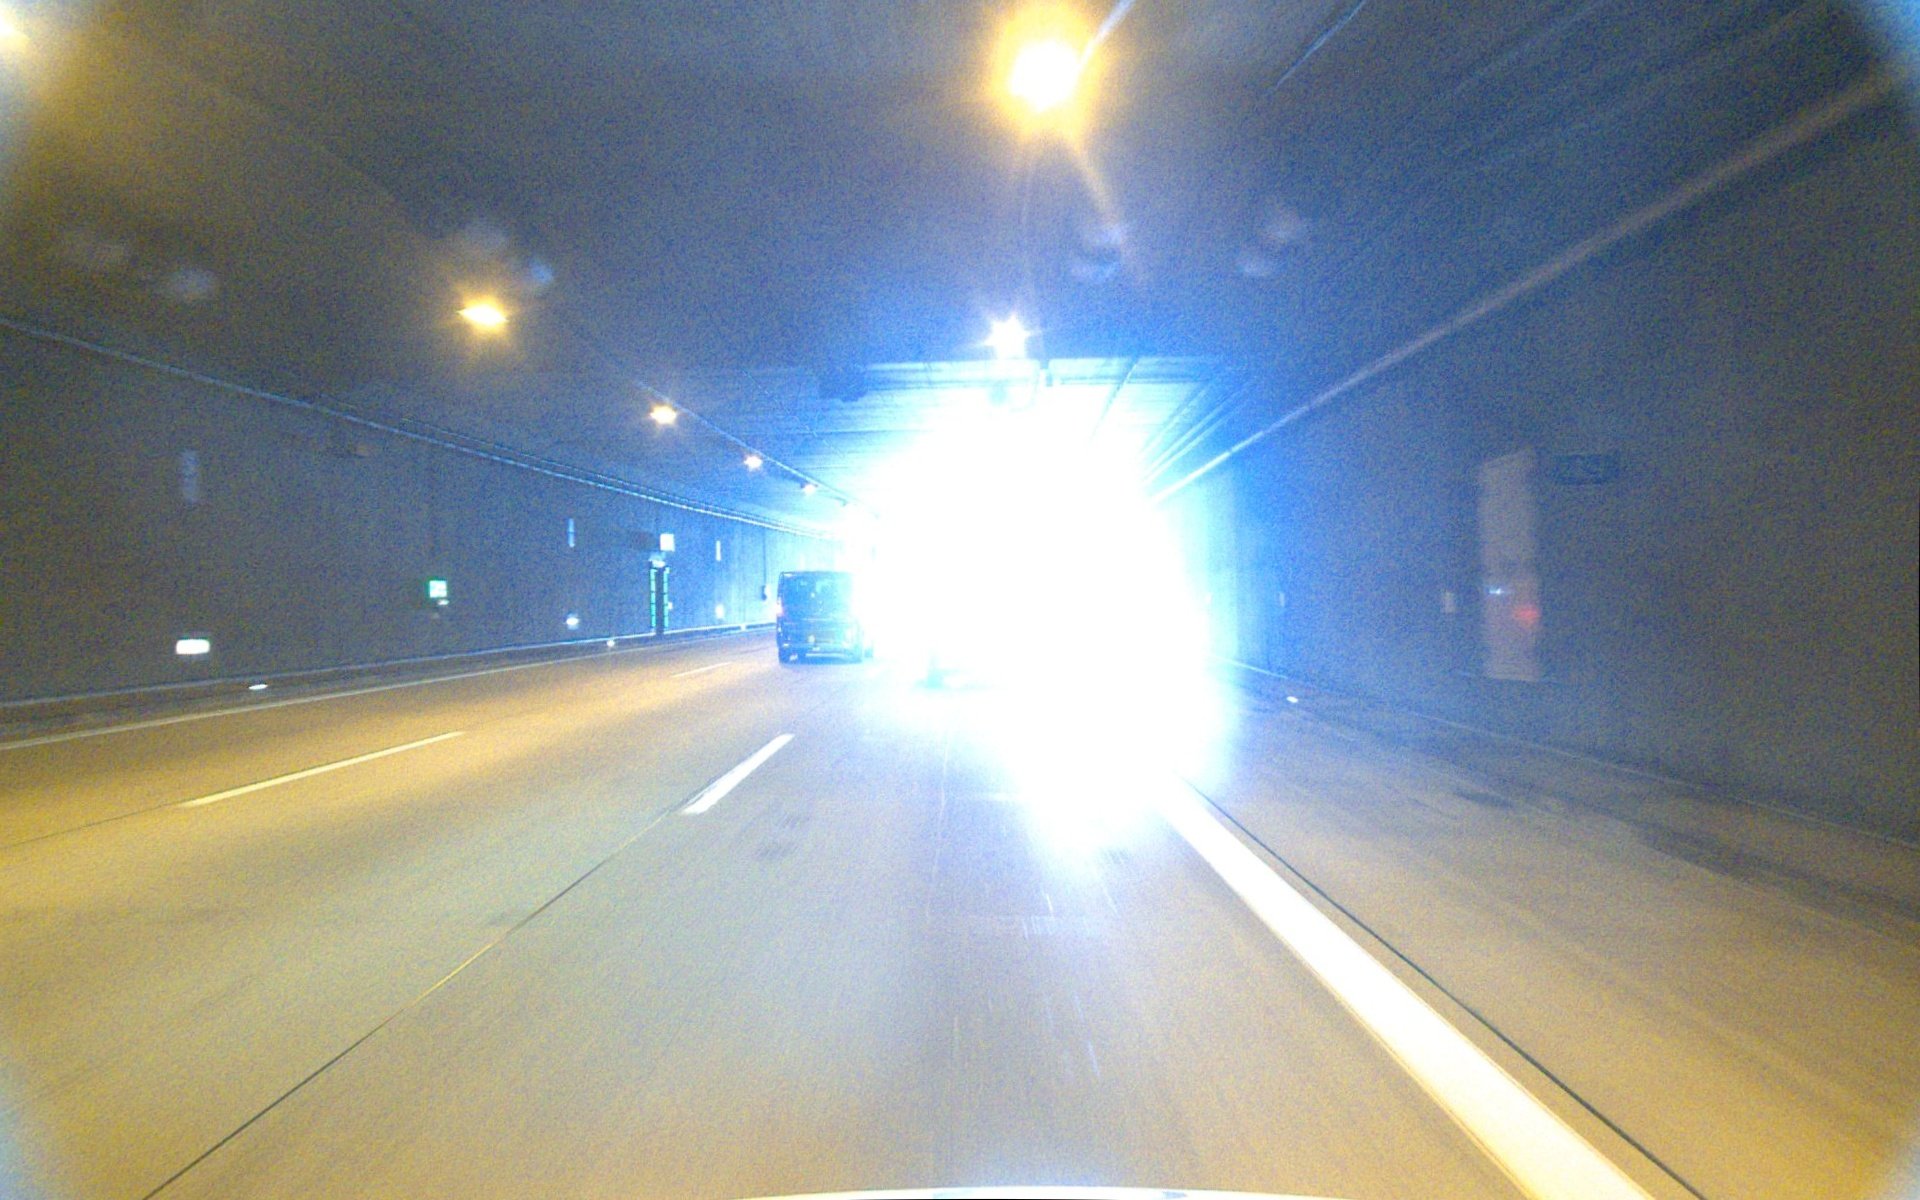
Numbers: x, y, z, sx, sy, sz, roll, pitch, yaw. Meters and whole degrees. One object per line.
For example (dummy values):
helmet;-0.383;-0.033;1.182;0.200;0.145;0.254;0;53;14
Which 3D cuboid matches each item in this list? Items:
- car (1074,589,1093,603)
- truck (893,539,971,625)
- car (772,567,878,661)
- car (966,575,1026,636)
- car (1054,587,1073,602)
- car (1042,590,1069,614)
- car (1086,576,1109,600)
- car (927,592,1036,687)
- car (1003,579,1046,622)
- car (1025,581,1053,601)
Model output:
car;15.145;-0.514;202.888;1.951;1.660;4.003;0;-1;9
truck;-1.201;-0.769;75.659;2.975;3.737;7.396;0;0;3
car;-2.935;0.284;36.749;1.870;1.978;3.872;0;0;3
car;1.192;0.166;53.516;1.818;1.887;4.002;0;0;3
car;13.173;-0.684;210.739;1.889;1.671;4.003;0;-2;11
car;7.060;0.159;122.149;1.890;1.671;4.002;0;-2;5
car;12.656;-1.113;152.228;1.951;2.049;4.002;0;-2;8
car;0.429;0.618;28.086;1.706;1.489;3.872;0;0;3
car;2.933;0.035;75.585;1.909;1.803;4.000;0;-2;2
car;7.097;-0.772;148.009;1.951;1.660;4.003;0;-1;10
